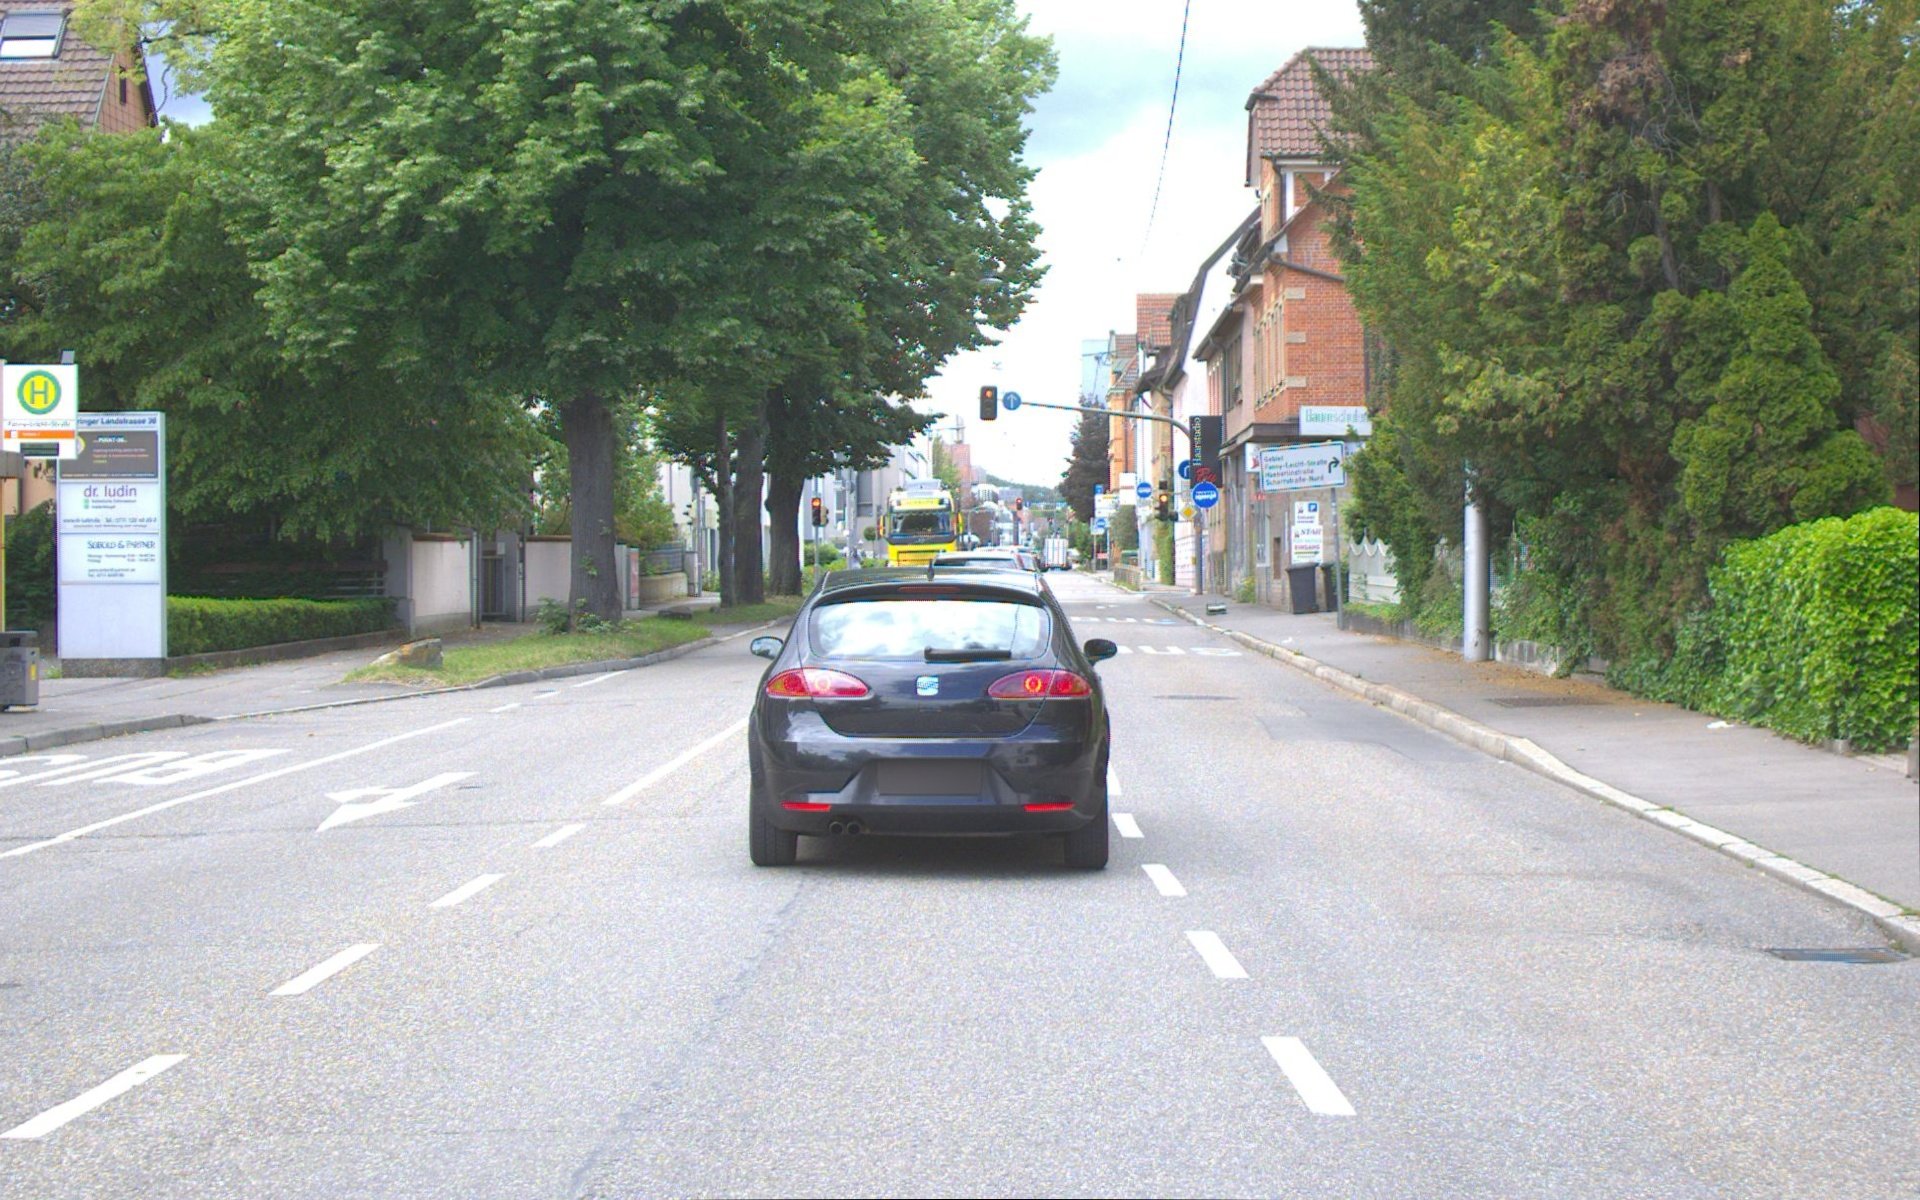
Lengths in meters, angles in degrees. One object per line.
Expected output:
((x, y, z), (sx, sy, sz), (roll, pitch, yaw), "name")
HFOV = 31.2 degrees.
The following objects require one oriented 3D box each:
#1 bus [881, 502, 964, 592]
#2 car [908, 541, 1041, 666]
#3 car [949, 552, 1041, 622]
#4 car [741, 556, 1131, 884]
((-1.323, -1.945, 125.533), (2.868, 3.125, 6.398), (-1, 1, 0), "bus")
((0.257, 0.020, 51.316), (1.819, 1.693, 4.253), (-2, 1, 2), "car")
((0.782, -0.328, 79.743), (1.941, 1.476, 4.253), (-2, 1, -1), "car")
((-0.195, 0.524, 17.515), (1.759, 1.444, 3.715), (1, 1, -3), "car")
